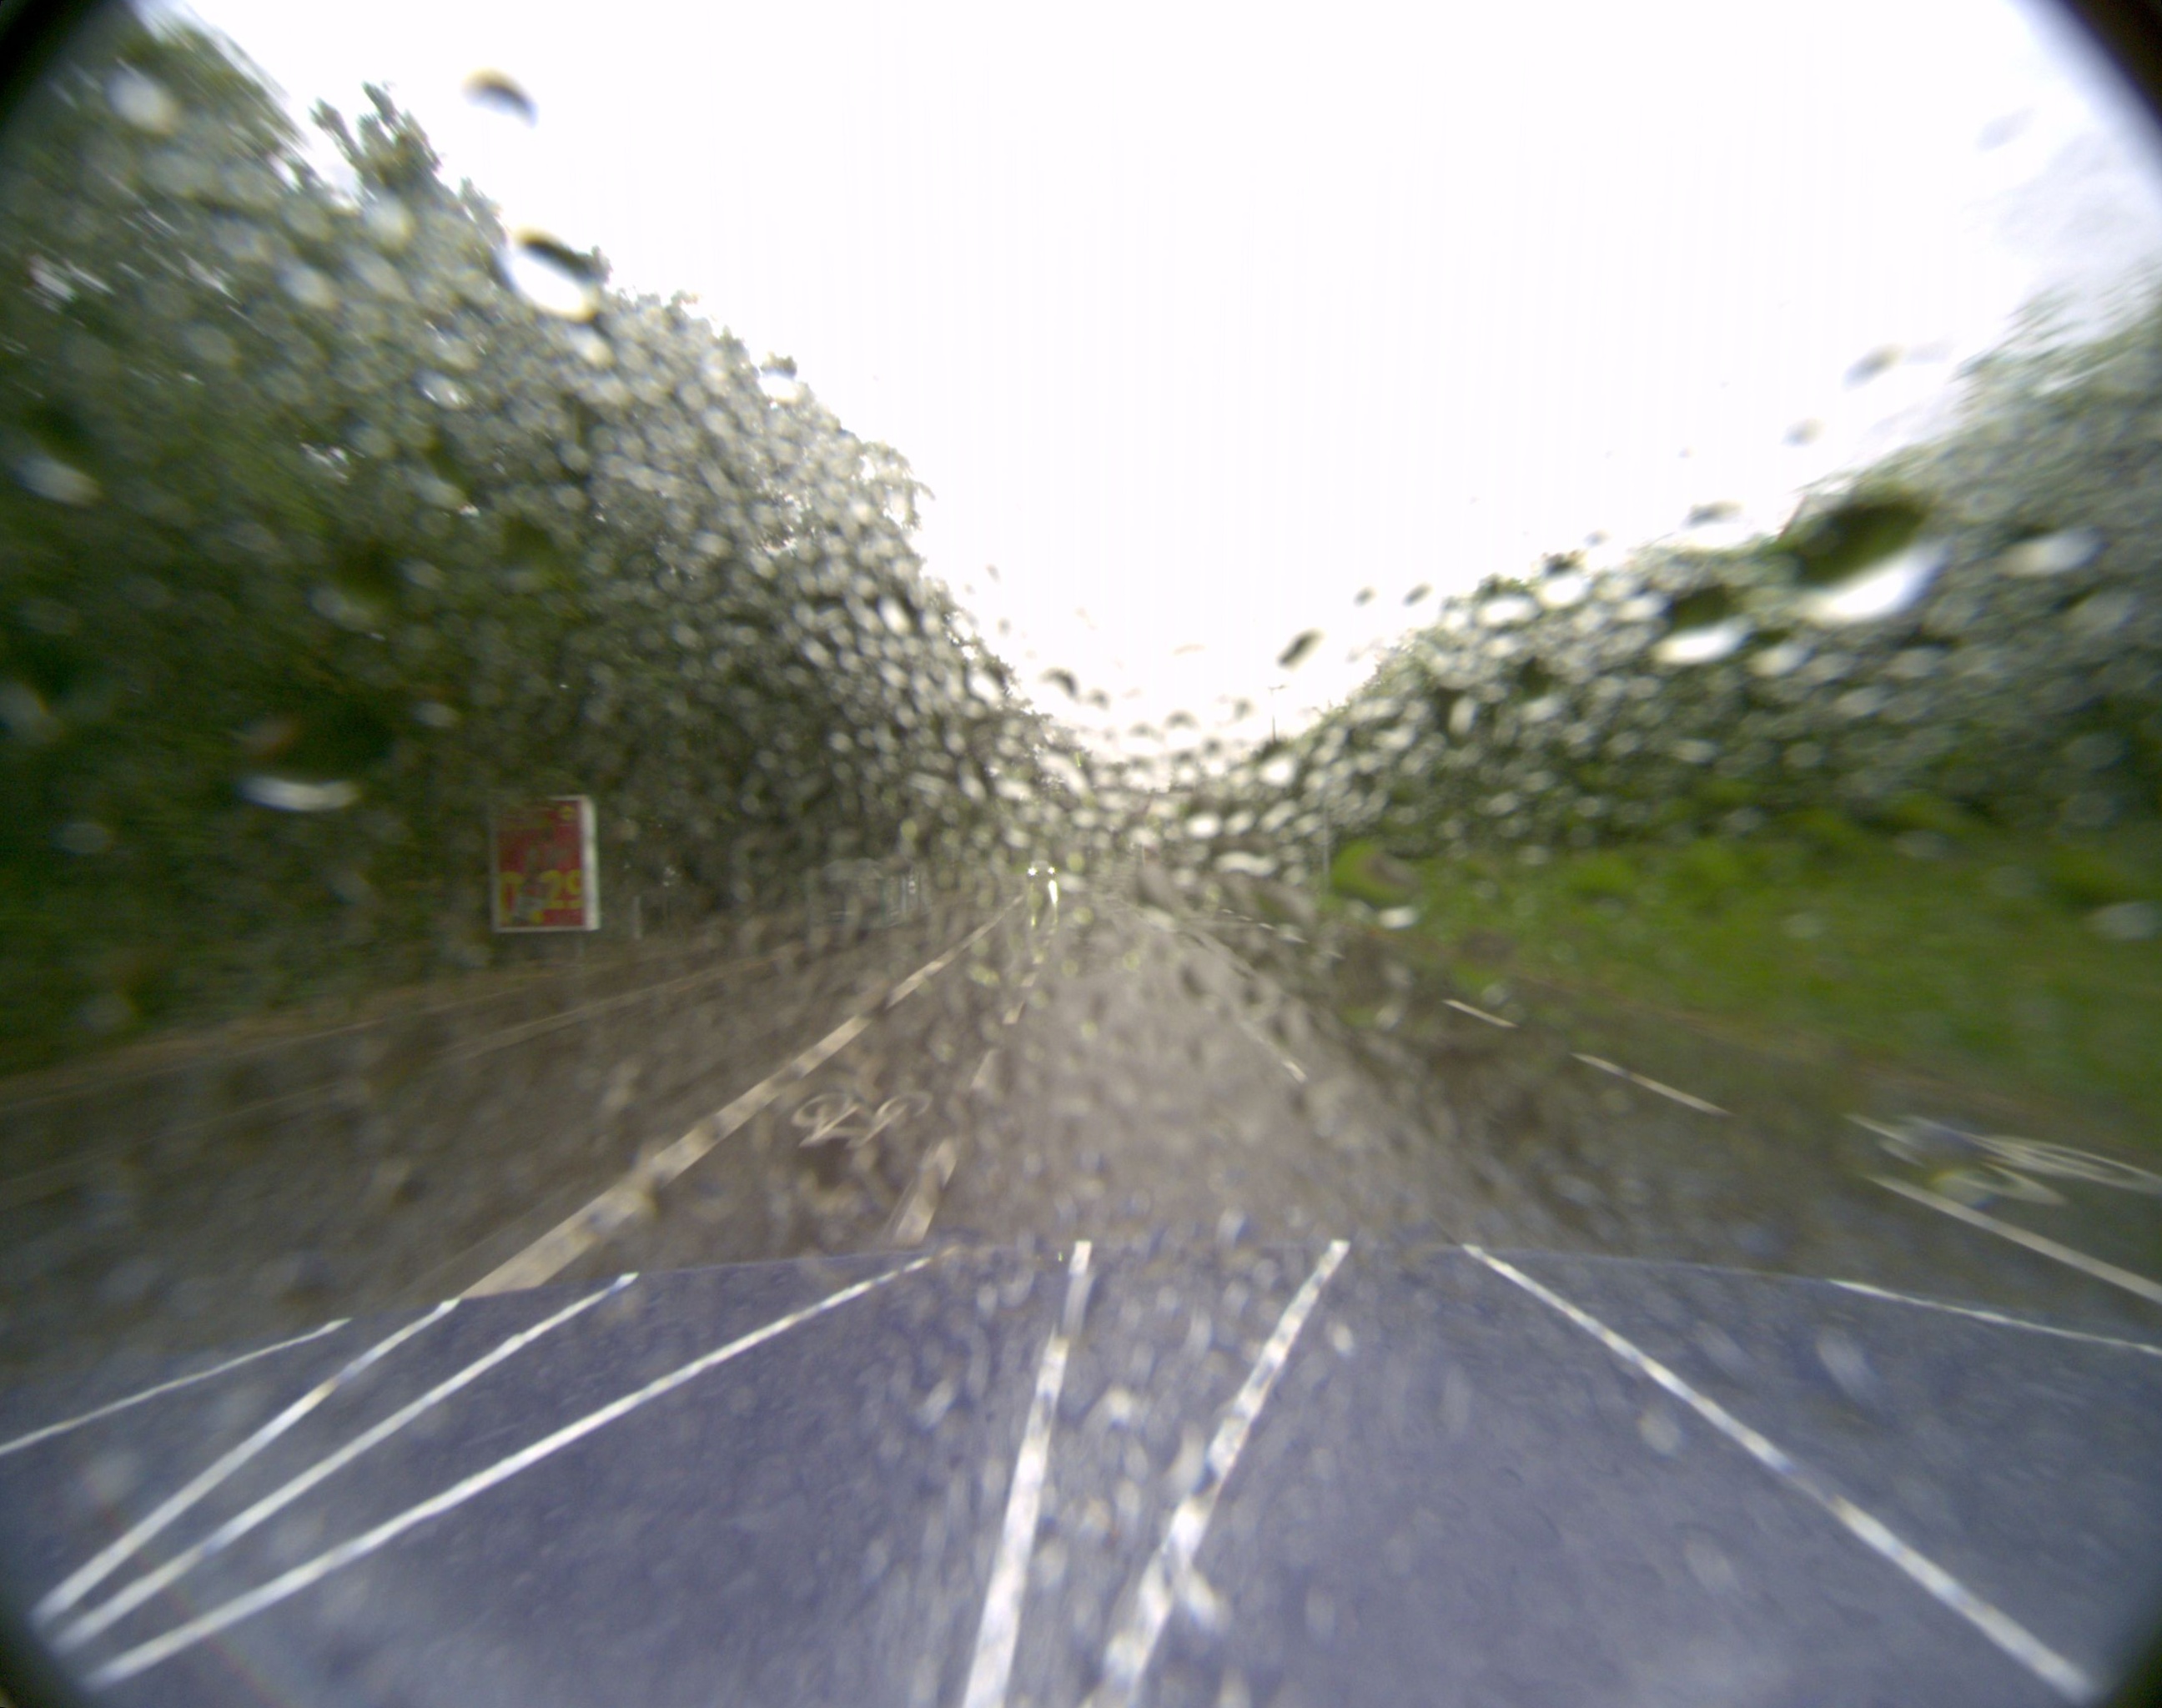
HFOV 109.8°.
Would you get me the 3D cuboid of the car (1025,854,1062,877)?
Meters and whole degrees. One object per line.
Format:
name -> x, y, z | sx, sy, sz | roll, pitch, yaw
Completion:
car -> -2.881, 0.869, 57.023 | 1.801, 1.543, 3.995 | -4, 1, -16
